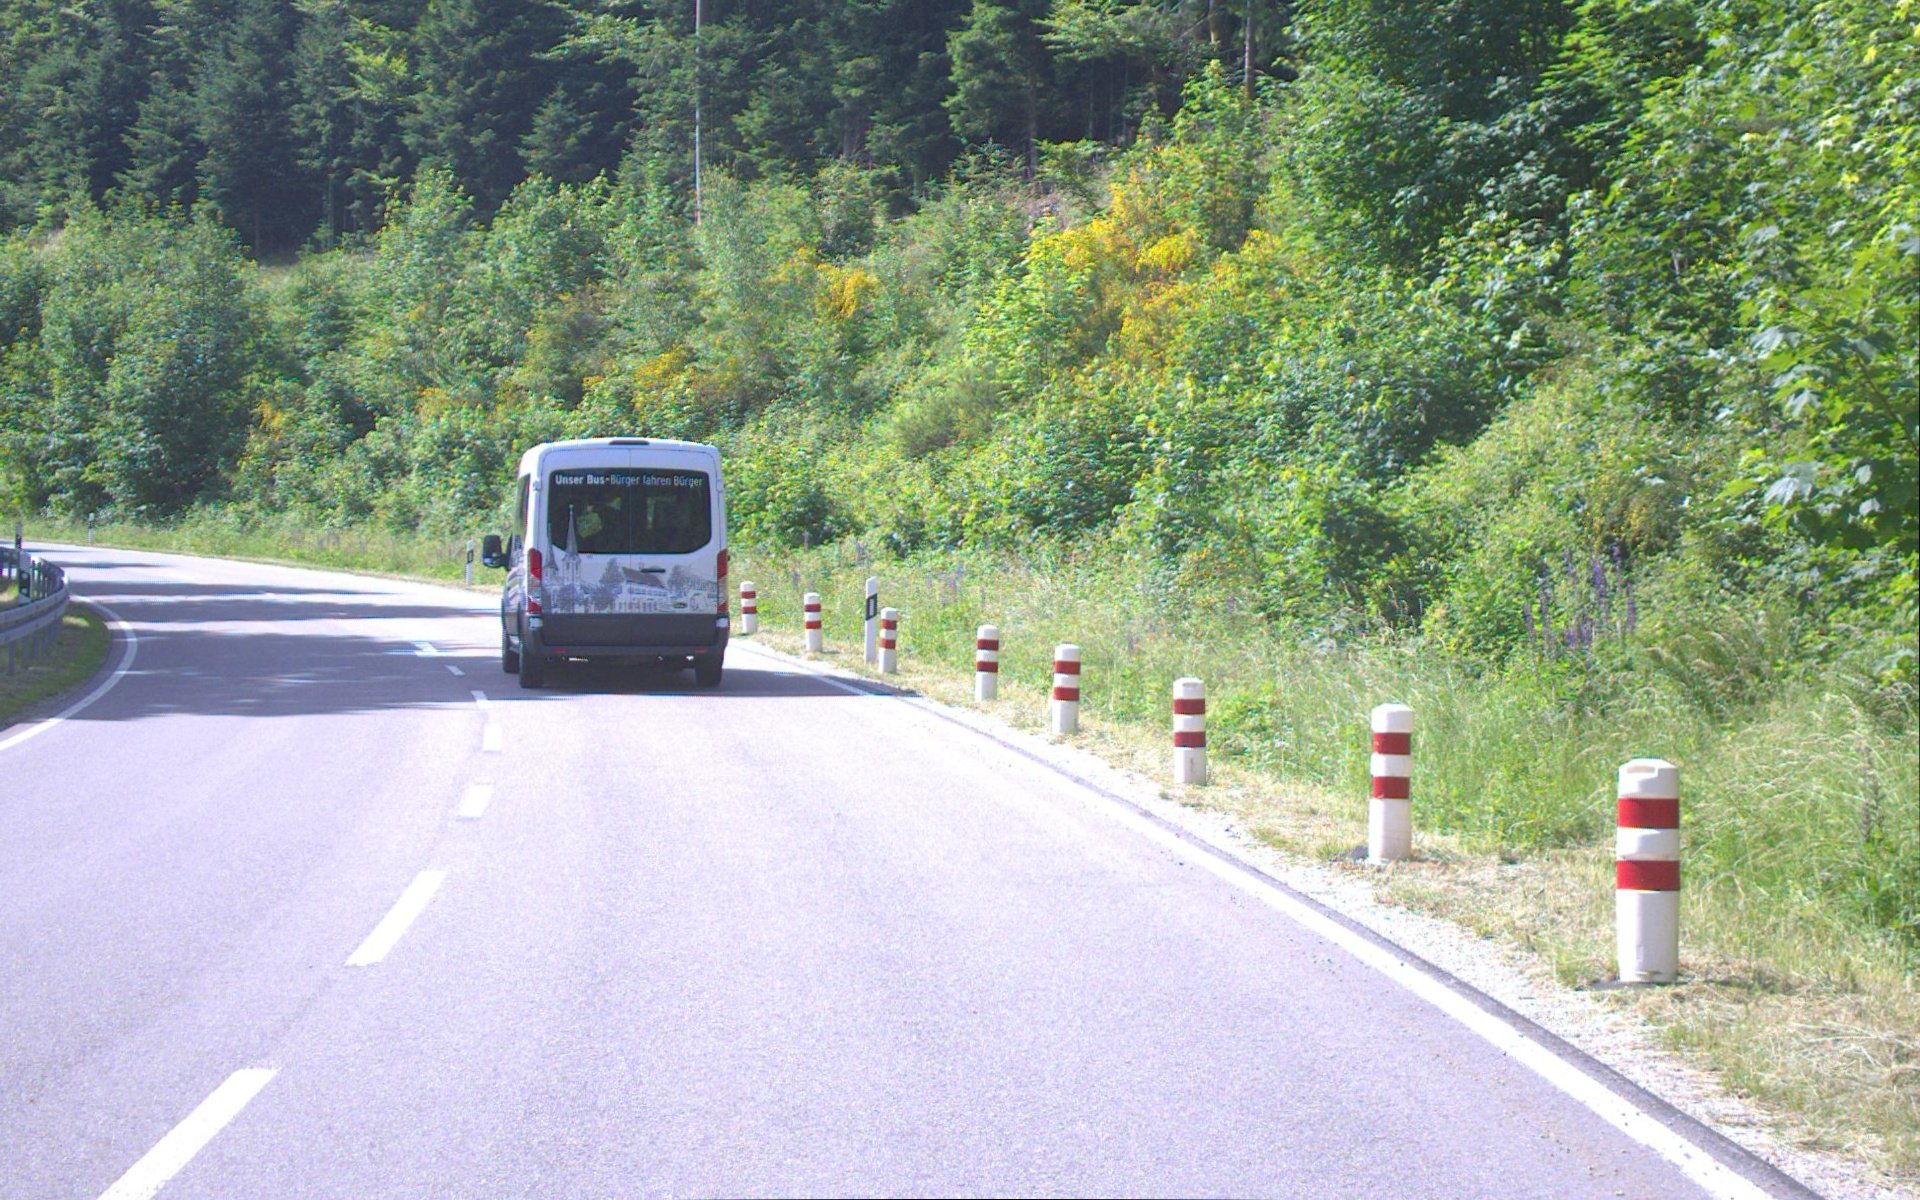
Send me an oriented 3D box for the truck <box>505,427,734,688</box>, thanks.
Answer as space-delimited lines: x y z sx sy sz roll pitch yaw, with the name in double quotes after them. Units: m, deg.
-3.606 -0.483 35.571 2.115 2.489 5.361 0 2 -8 "truck"
